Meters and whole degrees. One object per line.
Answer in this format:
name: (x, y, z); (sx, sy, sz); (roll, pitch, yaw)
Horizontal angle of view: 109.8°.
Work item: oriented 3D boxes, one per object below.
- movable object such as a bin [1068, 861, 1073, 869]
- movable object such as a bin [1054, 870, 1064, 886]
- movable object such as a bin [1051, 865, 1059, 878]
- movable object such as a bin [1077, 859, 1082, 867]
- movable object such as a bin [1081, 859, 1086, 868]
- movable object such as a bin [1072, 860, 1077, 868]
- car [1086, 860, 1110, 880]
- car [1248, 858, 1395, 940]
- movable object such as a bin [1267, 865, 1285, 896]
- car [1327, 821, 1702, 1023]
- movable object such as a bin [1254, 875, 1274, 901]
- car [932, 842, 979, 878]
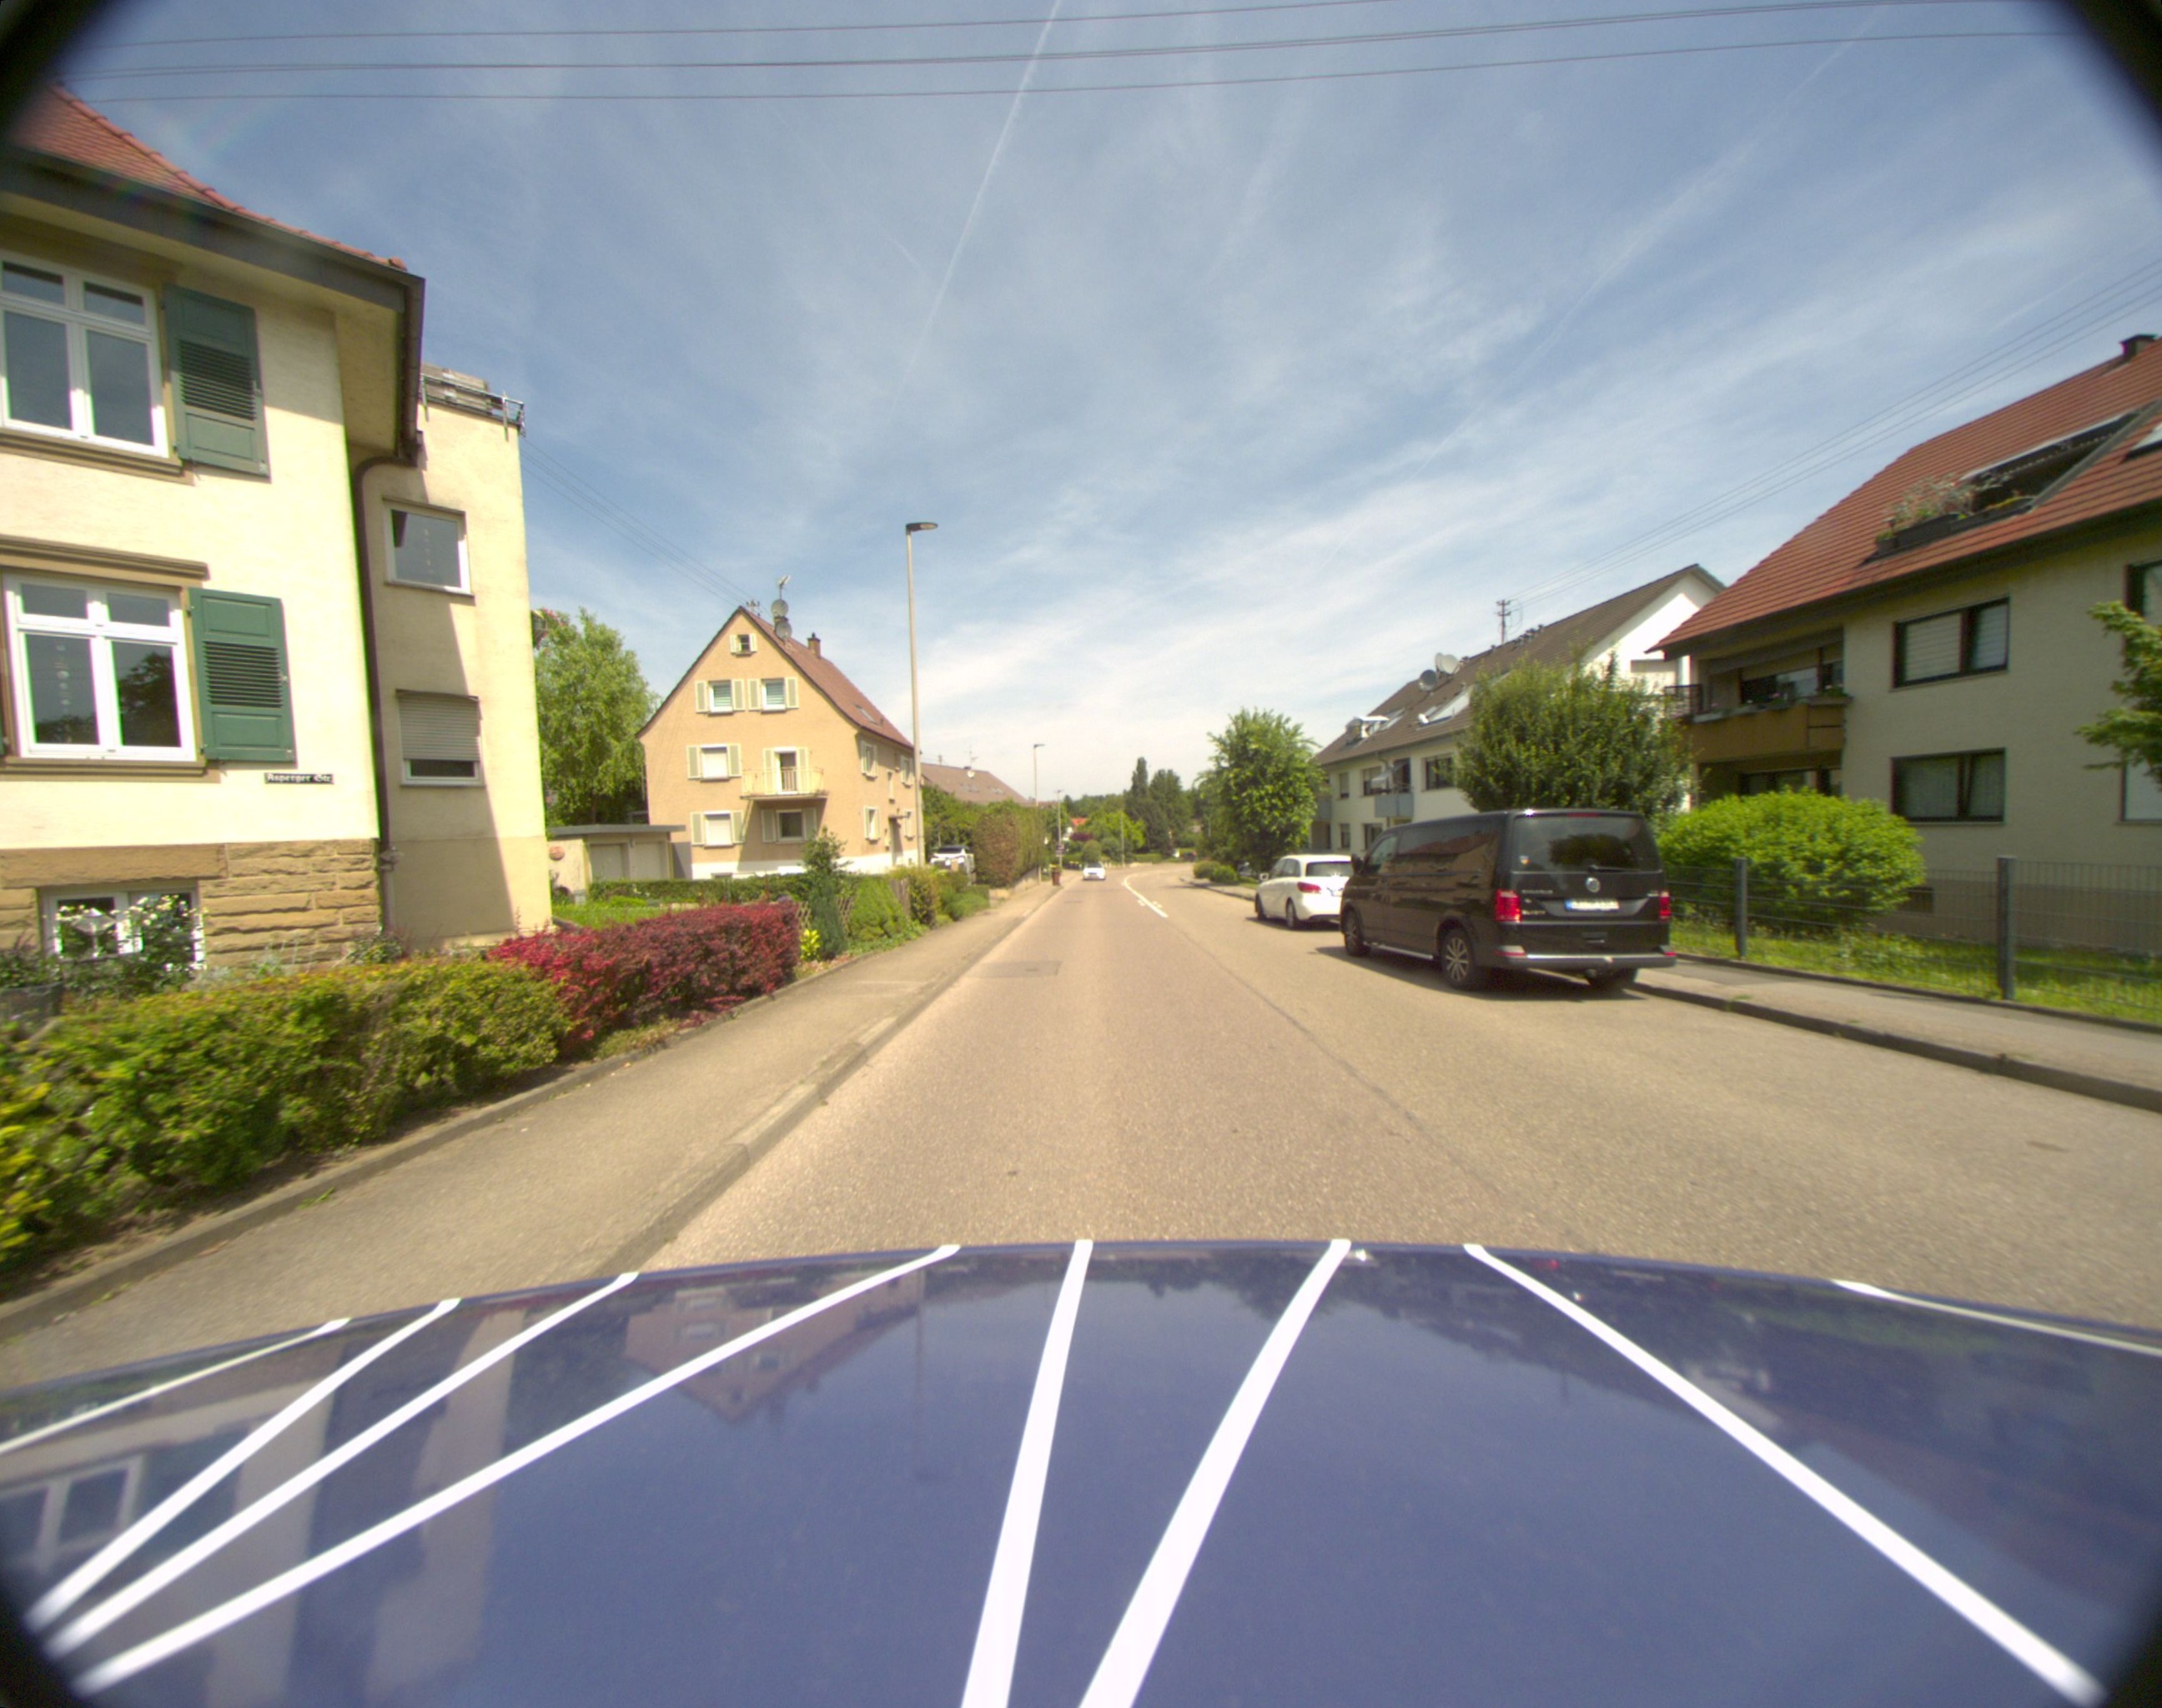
movable object such as a bin: (-1.338, 1.390, 97.637); (0.449, 0.950, 0.516); (-1, 0, 19)
movable object such as a bin: (-1.376, 1.473, 47.510); (0.589, 0.972, 0.786); (0, 0, 1)
movable object such as a bin: (-2.164, 1.442, 63.887); (0.589, 1.052, 0.920); (-1, 0, 4)
movable object such as a bin: (-0.198, 1.193, 97.203); (0.484, 1.016, 0.565); (2, 2, 22)
movable object such as a bin: (0.332, 1.206, 96.963); (0.485, 1.064, 0.565); (-1, 1, 22)
movable object such as a bin: (-0.807, 1.326, 97.427); (0.484, 1.016, 0.565); (2, 2, 22)
car: (1.400, 1.315, 63.292); (1.826, 1.543, 3.999); (-1, 0, -1)
car: (5.143, 0.893, 16.887); (1.816, 1.540, 4.243); (-2, 0, -1)
movable object such as a bin: (6.412, 0.861, 24.981); (0.507, 0.982, 0.563); (-1, 0, 8)
car: (4.928, 0.668, 9.678); (1.901, 1.909, 4.870); (0, 0, -1)
movable object such as a bin: (6.592, 1.230, 27.394); (0.620, 0.912, 0.686); (-1, 0, 8)
car: (-6.076, 0.243, 37.004); (1.609, 1.474, 3.557); (-2, 3, 1)
